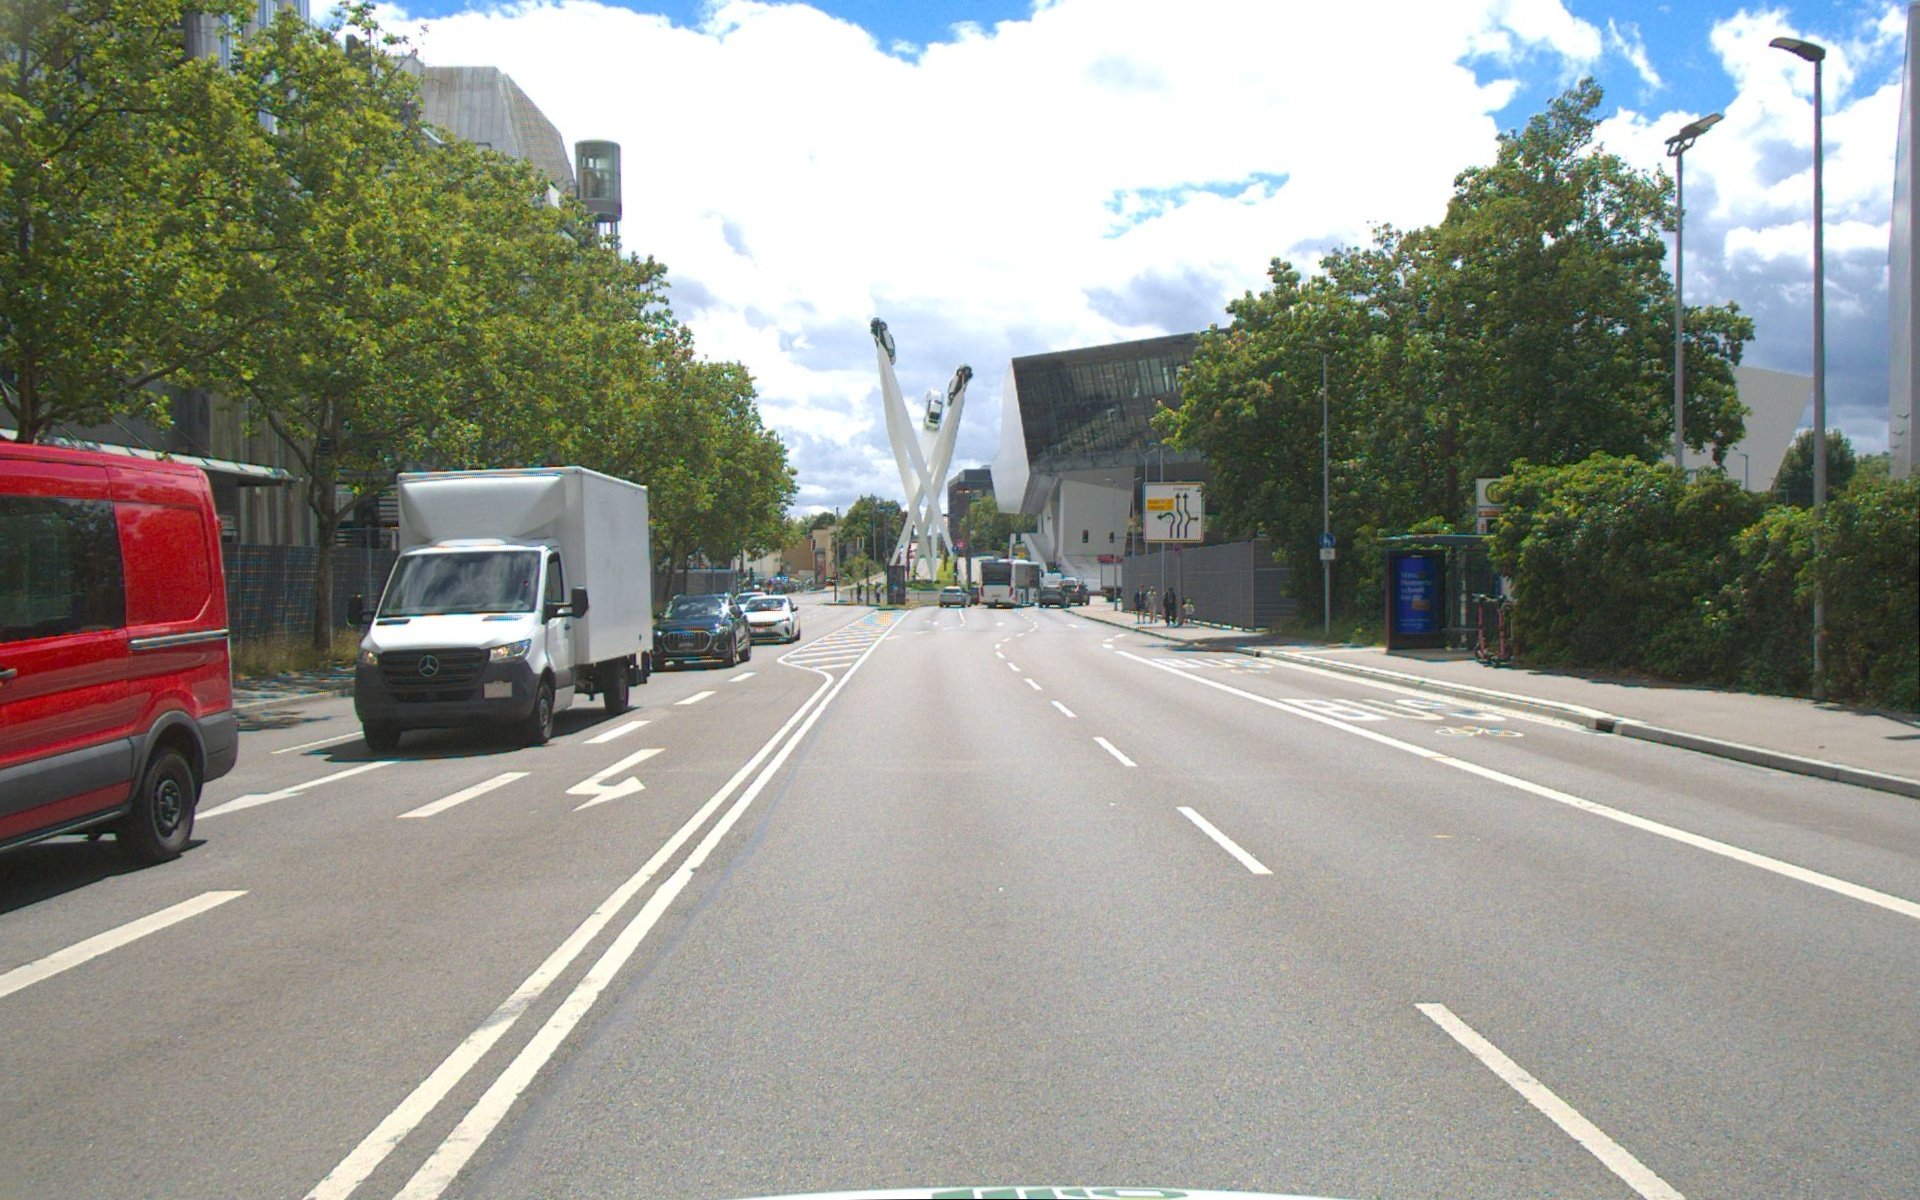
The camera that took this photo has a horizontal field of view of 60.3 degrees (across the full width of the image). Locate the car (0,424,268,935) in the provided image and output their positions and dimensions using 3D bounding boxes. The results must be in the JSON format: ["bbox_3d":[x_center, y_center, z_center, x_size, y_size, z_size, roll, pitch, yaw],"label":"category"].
[{"bbox_3d":[-5.809,0.421,8.624,2.021,2.551,5.479,-2,0,0],"label":"car"}]

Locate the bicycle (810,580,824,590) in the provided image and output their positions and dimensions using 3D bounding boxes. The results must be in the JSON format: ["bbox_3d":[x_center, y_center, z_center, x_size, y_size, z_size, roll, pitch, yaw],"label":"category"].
[{"bbox_3d":[-17.928,-1.829,206.975,1.702,1.202,0.670,1,1,-2],"label":"bicycle"}]

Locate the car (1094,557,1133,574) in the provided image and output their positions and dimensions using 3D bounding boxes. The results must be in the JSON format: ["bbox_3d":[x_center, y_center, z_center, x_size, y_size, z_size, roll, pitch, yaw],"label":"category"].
[{"bbox_3d":[18.756,-4.224,202.210,1.985,1.418,4.444,-6,11,-43],"label":"car"}]

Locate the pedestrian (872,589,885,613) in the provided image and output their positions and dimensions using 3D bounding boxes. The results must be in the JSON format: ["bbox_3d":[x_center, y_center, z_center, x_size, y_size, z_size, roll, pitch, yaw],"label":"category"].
[{"bbox_3d":[-6.234,0.051,126.439,0.848,1.805,1.031,1,-1,-14],"label":"pedestrian"}]

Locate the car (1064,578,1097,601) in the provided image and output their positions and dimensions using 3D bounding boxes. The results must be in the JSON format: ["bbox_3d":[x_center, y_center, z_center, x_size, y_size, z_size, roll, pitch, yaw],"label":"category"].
[{"bbox_3d":[9.126,-0.750,125.125,1.951,1.665,4.003,1,0,12],"label":"car"}]

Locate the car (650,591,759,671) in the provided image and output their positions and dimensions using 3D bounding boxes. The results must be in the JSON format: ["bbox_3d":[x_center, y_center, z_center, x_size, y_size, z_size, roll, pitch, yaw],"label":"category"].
[{"bbox_3d":[-5.651,0.654,37.018,1.704,1.608,4.267,-3,0,0],"label":"car"}]

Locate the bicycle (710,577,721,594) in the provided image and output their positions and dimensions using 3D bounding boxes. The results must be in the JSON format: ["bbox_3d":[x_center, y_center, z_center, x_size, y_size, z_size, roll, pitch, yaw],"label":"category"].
[{"bbox_3d":[-14.823,-0.887,100.260,0.290,1.023,1.253,1,-1,10],"label":"bicycle"}]

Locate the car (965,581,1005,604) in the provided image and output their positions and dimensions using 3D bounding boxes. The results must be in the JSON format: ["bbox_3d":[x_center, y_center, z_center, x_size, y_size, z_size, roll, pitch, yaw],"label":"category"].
[{"bbox_3d":[1.911,-0.586,126.528,1.952,1.665,4.002,1,0,18],"label":"car"}]

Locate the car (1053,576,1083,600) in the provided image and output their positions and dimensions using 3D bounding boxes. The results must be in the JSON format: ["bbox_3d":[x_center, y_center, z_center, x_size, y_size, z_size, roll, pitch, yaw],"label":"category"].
[{"bbox_3d":[9.168,-1.035,140.086,1.951,1.966,4.244,1,0,12],"label":"car"}]

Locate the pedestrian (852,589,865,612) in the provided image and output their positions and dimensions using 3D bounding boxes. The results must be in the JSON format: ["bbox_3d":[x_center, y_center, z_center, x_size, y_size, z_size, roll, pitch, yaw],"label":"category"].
[{"bbox_3d":[-7.993,0.055,130.468,0.848,1.805,1.031,1,-1,-14],"label":"pedestrian"}]

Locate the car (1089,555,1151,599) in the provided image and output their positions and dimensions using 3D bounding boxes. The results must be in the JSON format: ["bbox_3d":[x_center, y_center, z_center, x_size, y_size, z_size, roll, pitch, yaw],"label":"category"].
[{"bbox_3d":[13.735,-1.932,141.536,3.265,3.565,9.345,1,0,18],"label":"car"}]

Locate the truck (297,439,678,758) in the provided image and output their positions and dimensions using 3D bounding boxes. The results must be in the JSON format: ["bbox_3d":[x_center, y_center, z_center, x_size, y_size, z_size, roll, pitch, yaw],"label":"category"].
[{"bbox_3d":[-5.514,-0.019,20.756,2.402,3.183,7.244,-3,0,1],"label":"truck"}]

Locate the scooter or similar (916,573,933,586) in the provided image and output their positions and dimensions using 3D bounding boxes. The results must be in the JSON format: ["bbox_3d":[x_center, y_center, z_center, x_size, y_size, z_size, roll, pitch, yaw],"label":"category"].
[{"bbox_3d":[-3.189,-1.815,147.691,1.376,1.043,0.549,-4,6,-12],"label":"scooter or similar"}]

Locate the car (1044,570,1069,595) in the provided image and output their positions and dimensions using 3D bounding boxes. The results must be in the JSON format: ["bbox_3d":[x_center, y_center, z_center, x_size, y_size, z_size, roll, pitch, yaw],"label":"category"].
[{"bbox_3d":[9.192,-1.660,157.013,1.951,2.209,4.659,1,0,8],"label":"car"}]

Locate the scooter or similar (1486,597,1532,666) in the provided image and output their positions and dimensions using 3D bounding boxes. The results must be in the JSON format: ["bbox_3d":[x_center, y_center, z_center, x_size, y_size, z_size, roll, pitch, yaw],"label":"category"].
[{"bbox_3d":[9.972,0.564,29.997,0.531,1.183,1.790,-1,0,26],"label":"scooter or similar"}]

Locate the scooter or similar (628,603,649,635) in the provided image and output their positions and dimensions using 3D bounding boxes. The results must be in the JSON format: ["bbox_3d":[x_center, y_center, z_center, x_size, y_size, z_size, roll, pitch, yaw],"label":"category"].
[{"bbox_3d":[-13.317,0.772,68.575,0.512,1.256,1.318,3,1,1],"label":"scooter or similar"}]

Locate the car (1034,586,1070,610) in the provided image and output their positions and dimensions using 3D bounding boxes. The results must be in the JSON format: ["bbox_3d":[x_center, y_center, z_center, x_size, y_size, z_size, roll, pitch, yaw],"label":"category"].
[{"bbox_3d":[6.576,-0.157,117.709,1.951,1.665,4.004,1,1,12],"label":"car"}]

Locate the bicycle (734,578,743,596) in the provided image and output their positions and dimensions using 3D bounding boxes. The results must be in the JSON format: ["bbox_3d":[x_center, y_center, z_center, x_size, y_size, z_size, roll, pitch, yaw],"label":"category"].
[{"bbox_3d":[-14.305,-0.823,106.695,0.290,1.151,1.485,1,0,3],"label":"bicycle"}]

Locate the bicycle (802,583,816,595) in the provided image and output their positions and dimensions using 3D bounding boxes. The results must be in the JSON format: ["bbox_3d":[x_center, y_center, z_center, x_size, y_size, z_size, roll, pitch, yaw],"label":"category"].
[{"bbox_3d":[-18.102,-1.303,197.891,1.573,1.339,0.492,1,-1,-1],"label":"bicycle"}]

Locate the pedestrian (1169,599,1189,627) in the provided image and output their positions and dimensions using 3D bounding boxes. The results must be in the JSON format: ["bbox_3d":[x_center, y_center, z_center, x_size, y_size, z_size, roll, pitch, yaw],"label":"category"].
[{"bbox_3d":[9.092,0.541,68.666,0.741,1.169,0.972,1,-1,3],"label":"pedestrian"}]

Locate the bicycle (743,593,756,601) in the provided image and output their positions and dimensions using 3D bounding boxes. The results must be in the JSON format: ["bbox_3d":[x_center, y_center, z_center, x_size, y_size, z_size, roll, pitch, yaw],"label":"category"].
[{"bbox_3d":[-24.335,-0.360,191.370,1.578,0.881,0.491,0,-1,34],"label":"bicycle"}]

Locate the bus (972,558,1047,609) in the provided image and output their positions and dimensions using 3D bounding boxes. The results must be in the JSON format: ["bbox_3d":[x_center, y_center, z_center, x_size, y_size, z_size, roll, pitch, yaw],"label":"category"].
[{"bbox_3d":[3.702,-1.108,119.463,3.006,3.421,12.232,1,0,13],"label":"bus"}]

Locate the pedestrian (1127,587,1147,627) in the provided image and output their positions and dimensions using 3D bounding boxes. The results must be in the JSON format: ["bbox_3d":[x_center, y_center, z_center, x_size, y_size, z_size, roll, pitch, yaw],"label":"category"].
[{"bbox_3d":[7.857,0.299,73.497,0.778,1.751,0.731,1,-1,-1],"label":"pedestrian"}]

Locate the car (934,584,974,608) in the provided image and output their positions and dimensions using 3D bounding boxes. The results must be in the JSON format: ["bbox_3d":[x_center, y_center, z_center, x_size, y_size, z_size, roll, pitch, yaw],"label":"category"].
[{"bbox_3d":[-0.413,-0.260,115.307,1.951,1.665,4.003,1,0,12],"label":"car"}]

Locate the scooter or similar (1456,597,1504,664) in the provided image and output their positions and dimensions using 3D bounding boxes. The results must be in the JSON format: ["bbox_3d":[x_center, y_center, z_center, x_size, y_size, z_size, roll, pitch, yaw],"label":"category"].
[{"bbox_3d":[9.840,0.555,31.257,0.531,1.183,2.126,-1,0,26],"label":"scooter or similar"}]

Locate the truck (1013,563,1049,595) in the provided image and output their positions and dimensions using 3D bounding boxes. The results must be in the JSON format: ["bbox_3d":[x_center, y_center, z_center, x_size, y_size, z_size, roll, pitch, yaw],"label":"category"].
[{"bbox_3d":[6.104,-1.763,141.470,2.160,2.560,5.137,1,0,12],"label":"truck"}]

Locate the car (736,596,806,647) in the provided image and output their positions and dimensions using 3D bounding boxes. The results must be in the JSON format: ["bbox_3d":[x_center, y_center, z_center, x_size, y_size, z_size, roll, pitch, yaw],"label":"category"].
[{"bbox_3d":[-5.789,0.631,51.068,1.657,1.439,4.145,-2,0,0],"label":"car"}]

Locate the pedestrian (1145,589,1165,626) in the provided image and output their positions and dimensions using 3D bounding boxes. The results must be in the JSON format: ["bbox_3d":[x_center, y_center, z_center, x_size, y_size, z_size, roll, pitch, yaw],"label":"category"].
[{"bbox_3d":[8.645,0.335,73.463,0.778,1.625,0.731,1,-1,-1],"label":"pedestrian"}]

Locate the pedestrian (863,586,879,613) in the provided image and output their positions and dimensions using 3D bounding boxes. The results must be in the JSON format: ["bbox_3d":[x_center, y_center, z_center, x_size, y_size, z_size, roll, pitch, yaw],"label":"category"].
[{"bbox_3d":[-6.986,-0.075,129.292,0.932,2.091,0.951,0,-1,18],"label":"pedestrian"}]

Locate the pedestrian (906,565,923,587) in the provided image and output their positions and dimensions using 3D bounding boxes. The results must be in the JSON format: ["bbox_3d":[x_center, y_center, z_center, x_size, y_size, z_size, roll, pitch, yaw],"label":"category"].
[{"bbox_3d":[-4.035,-2.133,147.560,1.260,1.847,0.983,-4,4,-14],"label":"pedestrian"}]
